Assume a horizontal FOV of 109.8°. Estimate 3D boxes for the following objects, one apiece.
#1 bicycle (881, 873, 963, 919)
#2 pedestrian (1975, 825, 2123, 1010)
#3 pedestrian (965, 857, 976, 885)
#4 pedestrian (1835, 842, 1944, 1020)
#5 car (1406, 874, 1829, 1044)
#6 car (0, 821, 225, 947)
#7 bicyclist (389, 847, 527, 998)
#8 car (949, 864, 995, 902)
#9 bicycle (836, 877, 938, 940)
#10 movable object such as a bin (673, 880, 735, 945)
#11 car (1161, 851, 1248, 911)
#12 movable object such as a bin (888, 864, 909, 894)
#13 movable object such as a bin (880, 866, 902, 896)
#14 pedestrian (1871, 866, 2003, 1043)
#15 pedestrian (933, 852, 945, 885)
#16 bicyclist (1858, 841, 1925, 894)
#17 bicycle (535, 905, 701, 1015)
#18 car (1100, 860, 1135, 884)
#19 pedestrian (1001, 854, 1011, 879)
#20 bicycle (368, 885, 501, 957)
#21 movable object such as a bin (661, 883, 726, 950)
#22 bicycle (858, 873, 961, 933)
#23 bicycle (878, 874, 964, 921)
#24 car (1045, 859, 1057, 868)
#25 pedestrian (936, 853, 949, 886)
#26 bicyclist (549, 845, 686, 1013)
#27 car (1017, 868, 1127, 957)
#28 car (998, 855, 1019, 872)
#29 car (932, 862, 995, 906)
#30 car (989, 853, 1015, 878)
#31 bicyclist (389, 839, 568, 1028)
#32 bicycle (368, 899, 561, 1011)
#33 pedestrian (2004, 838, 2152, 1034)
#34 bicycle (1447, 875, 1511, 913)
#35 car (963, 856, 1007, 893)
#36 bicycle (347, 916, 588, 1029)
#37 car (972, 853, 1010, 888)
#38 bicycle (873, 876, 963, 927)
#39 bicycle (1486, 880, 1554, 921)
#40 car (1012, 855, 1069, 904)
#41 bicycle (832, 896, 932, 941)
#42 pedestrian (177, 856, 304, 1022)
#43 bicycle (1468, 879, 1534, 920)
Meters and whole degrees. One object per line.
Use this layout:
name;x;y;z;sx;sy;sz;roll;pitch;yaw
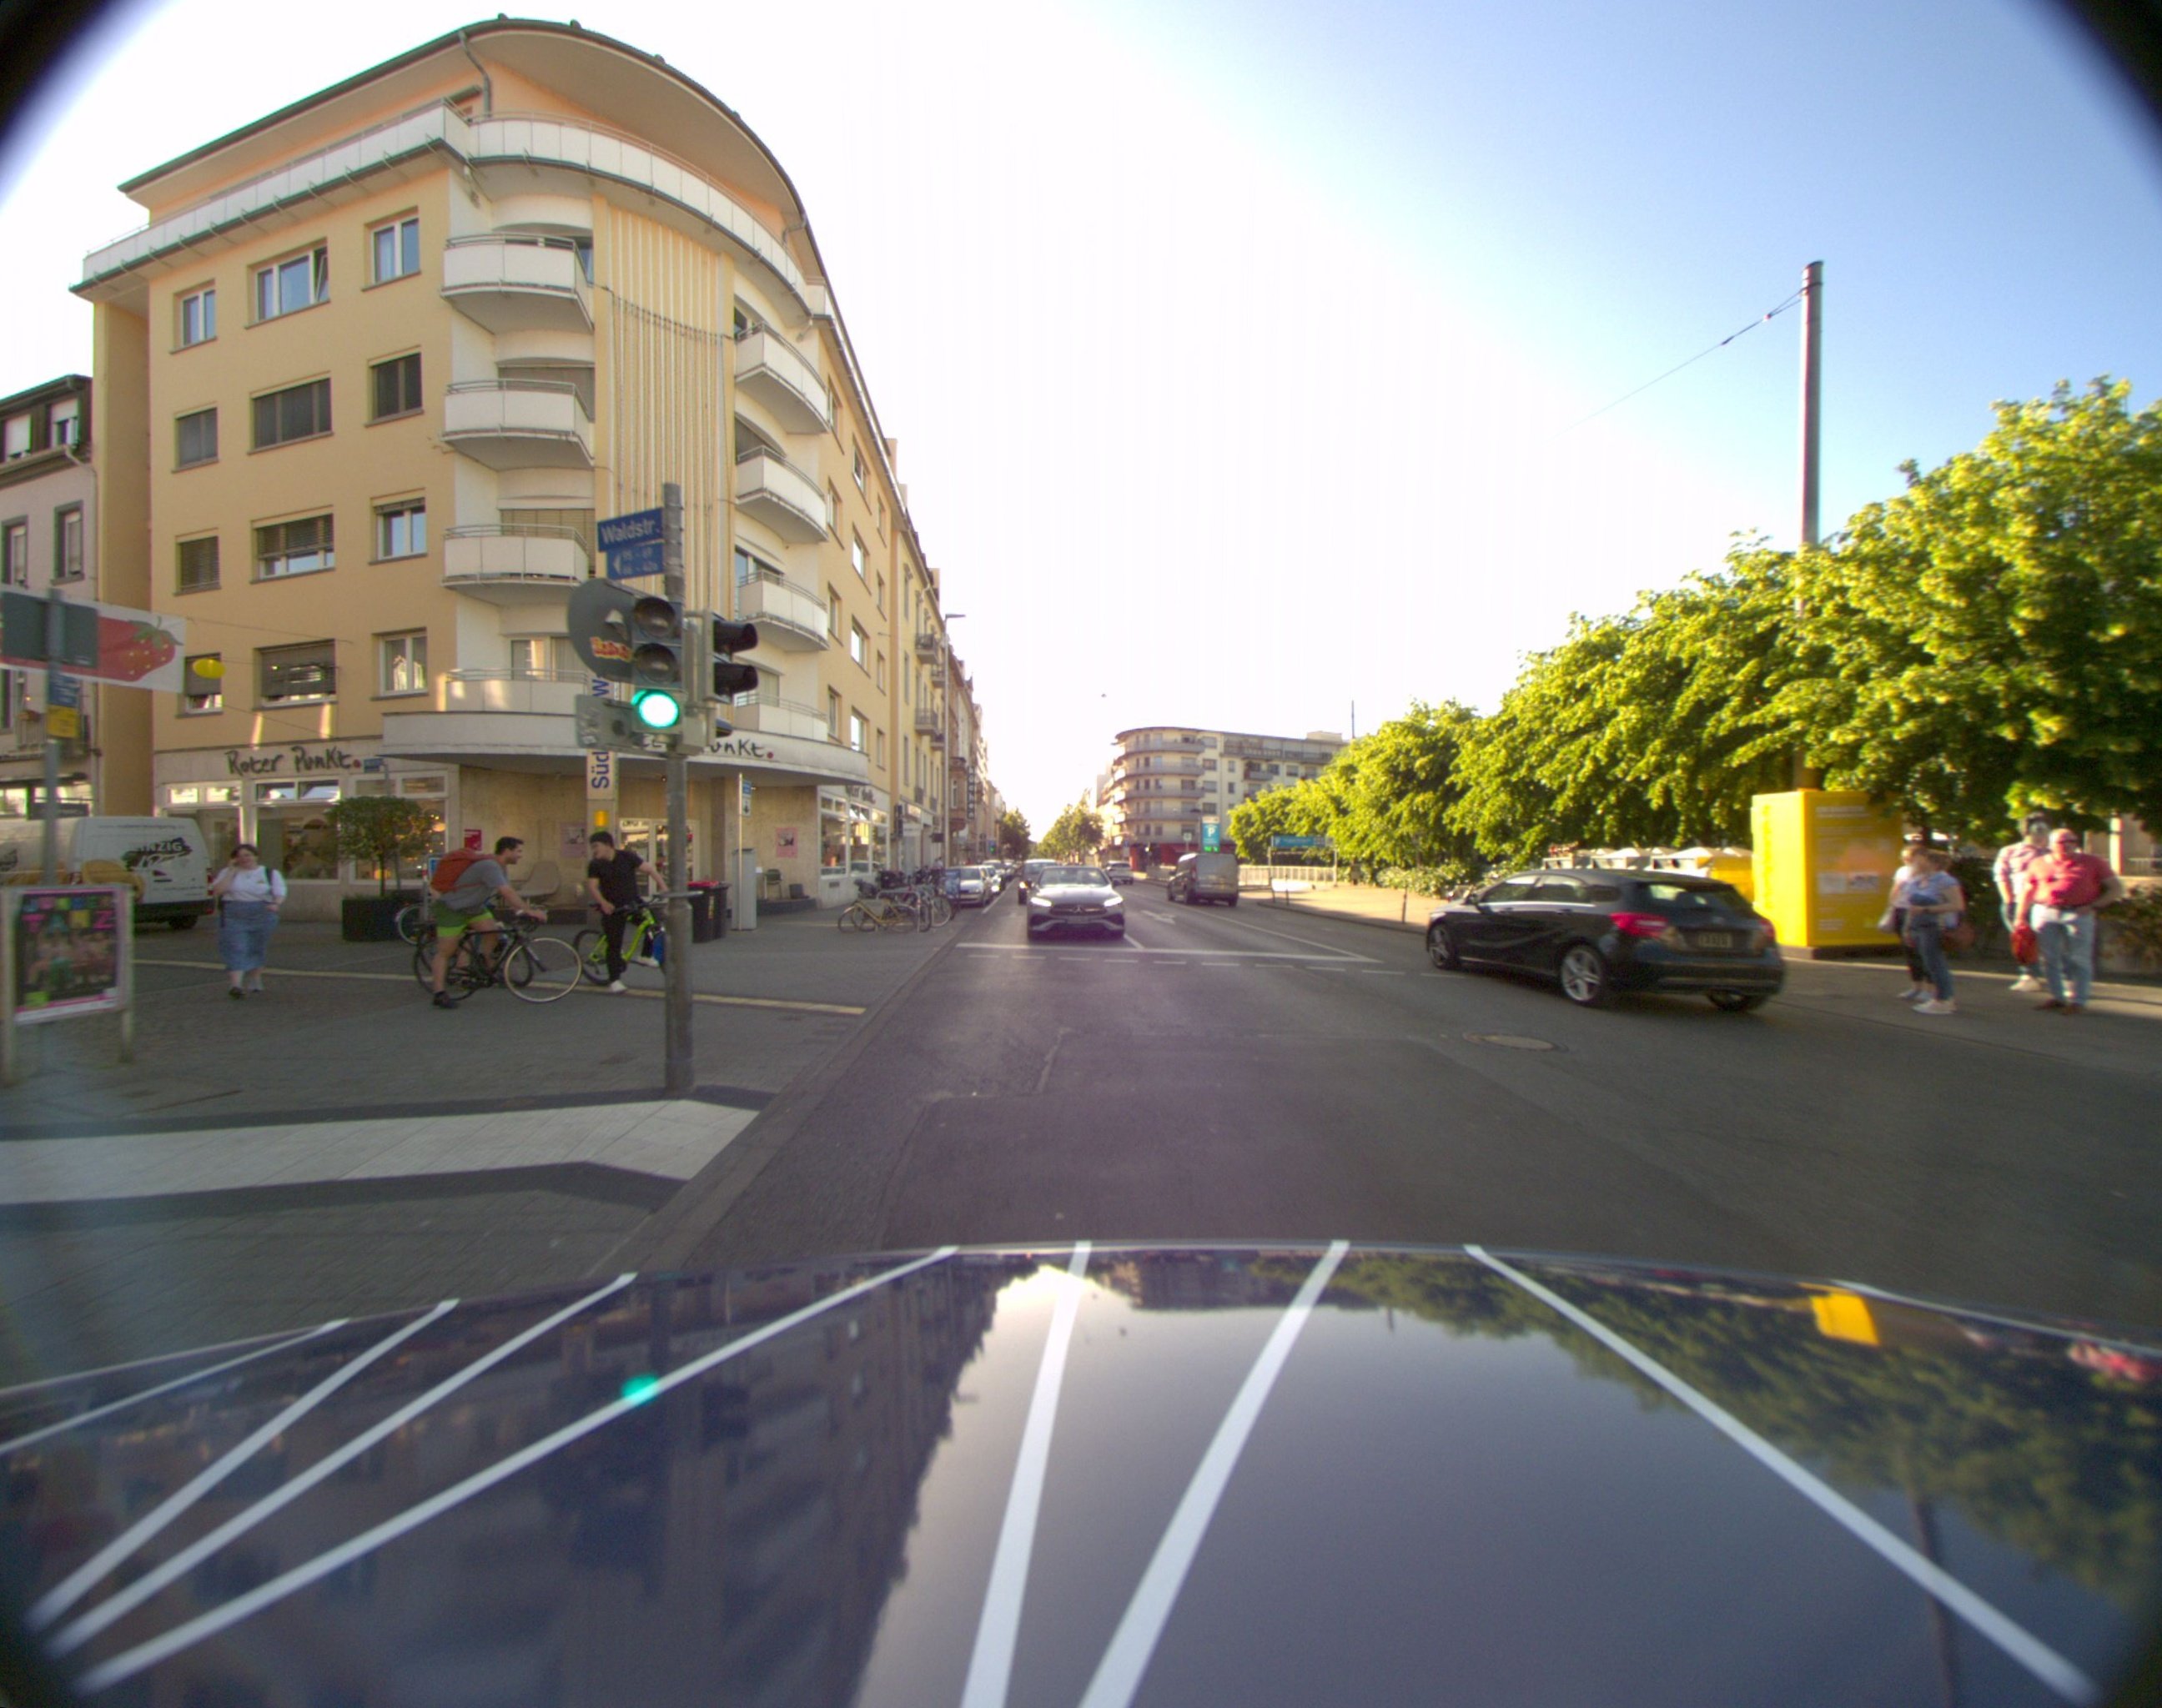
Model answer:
bicycle;-4.216;1.100;20.201;2.050;1.174;0.683;0;0;-3
pedestrian;10.468;0.653;8.245;0.609;1.907;0.783;0;0;-5
pedestrian;-7.406;1.150;51.151;0.695;1.895;0.905;0;0;-7
pedestrian;8.809;0.803;8.306;0.650;1.846;0.626;0;0;28
car;5.767;1.016;8.974;1.754;1.415;4.253;1;0;-4
car;-21.422;0.582;16.415;4.686;2.455;2.071;-1;2;18
bicyclist;-6.873;0.720;8.403;1.028;1.574;0.727;0;0;19
car;-4.436;1.148;31.354;1.742;1.417;3.998;0;0;-6
bicycle;-3.940;1.097;15.574;1.947;1.205;0.932;0;0;-9
movable object such as a bin;-6.782;1.047;13.699;0.810;1.106;0.620;-1;1;-5
car;4.419;0.936;27.949;1.999;1.935;4.781;3;0;-4
movable object such as a bin;-7.737;1.040;32.250;0.703;1.232;0.960;0;0;-3
movable object such as a bin;-7.612;1.070;30.487;0.703;1.153;0.960;0;0;-3
pedestrian;8.590;0.957;7.660;0.686;1.664;0.698;0;0;28
pedestrian;-8.394;0.850;44.891;0.673;1.942;0.614;0;0;-7
bicyclist;25.140;0.397;23.593;0.941;1.599;1.171;0;0;15
bicycle;-5.087;1.117;8.320;1.911;1.014;0.561;0;1;24
car;2.530;1.257;53.162;1.847;1.538;4.238;2;0;-5
pedestrian;-5.829;0.938;58.791;0.610;1.912;0.714;0;0;9
bicycle;-11.098;1.115;13.116;0.560;1.082;1.751;0;0;12
movable object such as a bin;-6.706;1.066;13.170;0.810;1.106;0.620;-1;1;-5
bicycle;-3.702;1.053;16.578;2.143;1.237;0.710;0;0;-8
bicycle;-4.008;1.093;19.142;2.027;1.143;0.715;1;0;-3
car;-5.678;1.807;143.097;1.999;1.758;3.998;0;0;-5
pedestrian;-8.039;0.874;44.167;0.695;1.895;0.905;0;0;-7
bicyclist;-4.970;0.756;8.167;1.129;1.675;0.727;0;0;24
car;-0.216;1.077;15.676;1.910;1.453;4.363;-2;0;-2
car;-7.589;0.974;79.481;1.999;1.717;3.999;0;0;-3
car;-4.050;1.006;26.638;1.693;1.390;3.999;0;0;-2
car;-6.478;0.928;62.902;1.999;2.002;4.190;0;0;-5
bicyclist;-5.917;0.742;7.526;1.141;1.751;0.753;0;0;-8
bicycle;-6.857;1.075;8.452;1.916;1.090;0.734;0;0;18
pedestrian;9.709;0.755;7.435;0.781;1.801;0.590;0;0;42
bicycle;11.027;1.090;21.054;1.529;1.025;0.364;0;0;11
car;-4.660;0.949;37.231;1.999;1.724;4.197;0;0;-6
bicycle;-6.027;1.145;7.549;1.822;0.988;0.564;0;0;-8
car;-5.192;0.896;43.416;2.000;1.867;3.996;0;0;-10
bicycle;-3.799;1.097;17.841;1.963;1.150;0.754;0;0;-3
bicycle;11.071;1.171;19.174;1.560;0.996;0.364;0;0;-4
car;-1.545;0.906;29.170;1.999;1.717;3.999;-1;0;-3
bicycle;-3.899;1.260;15.010;1.848;0.826;0.741;0;0;-9
pedestrian;-8.985;0.858;8.127;0.813;1.649;0.768;-1;0;33
bicycle;10.845;1.160;19.644;1.550;1.025;0.364;0;0;-4
